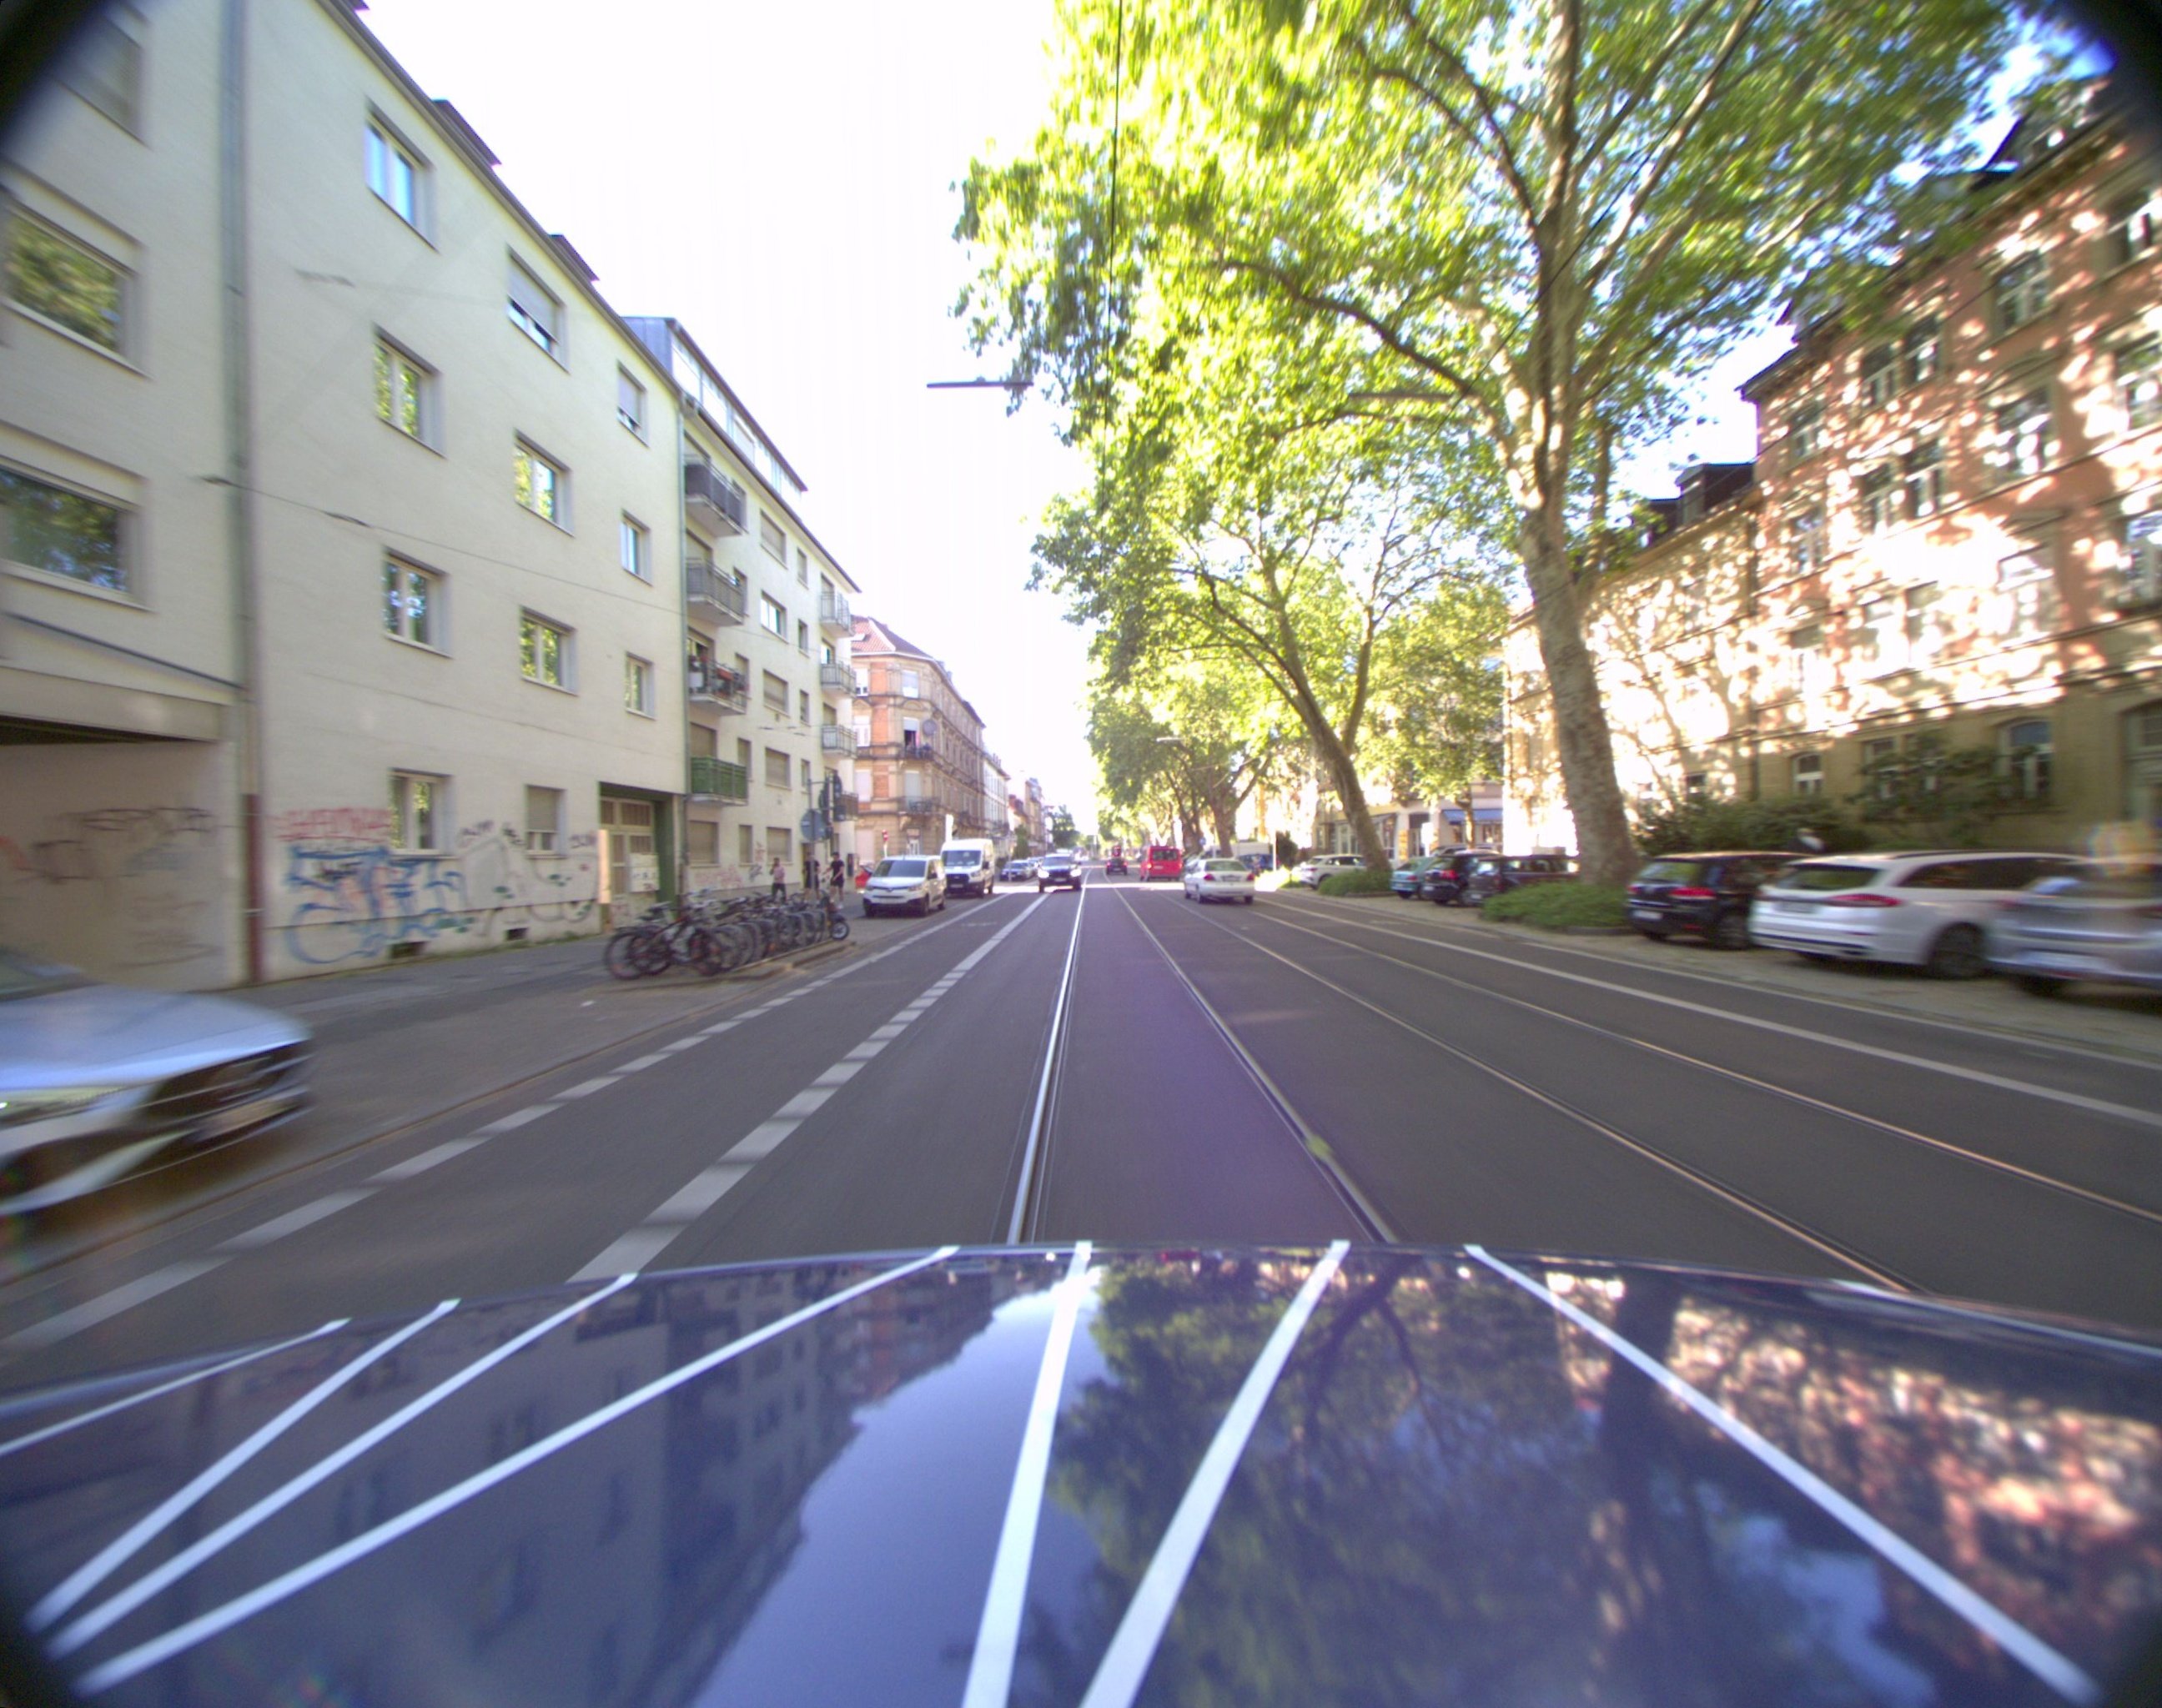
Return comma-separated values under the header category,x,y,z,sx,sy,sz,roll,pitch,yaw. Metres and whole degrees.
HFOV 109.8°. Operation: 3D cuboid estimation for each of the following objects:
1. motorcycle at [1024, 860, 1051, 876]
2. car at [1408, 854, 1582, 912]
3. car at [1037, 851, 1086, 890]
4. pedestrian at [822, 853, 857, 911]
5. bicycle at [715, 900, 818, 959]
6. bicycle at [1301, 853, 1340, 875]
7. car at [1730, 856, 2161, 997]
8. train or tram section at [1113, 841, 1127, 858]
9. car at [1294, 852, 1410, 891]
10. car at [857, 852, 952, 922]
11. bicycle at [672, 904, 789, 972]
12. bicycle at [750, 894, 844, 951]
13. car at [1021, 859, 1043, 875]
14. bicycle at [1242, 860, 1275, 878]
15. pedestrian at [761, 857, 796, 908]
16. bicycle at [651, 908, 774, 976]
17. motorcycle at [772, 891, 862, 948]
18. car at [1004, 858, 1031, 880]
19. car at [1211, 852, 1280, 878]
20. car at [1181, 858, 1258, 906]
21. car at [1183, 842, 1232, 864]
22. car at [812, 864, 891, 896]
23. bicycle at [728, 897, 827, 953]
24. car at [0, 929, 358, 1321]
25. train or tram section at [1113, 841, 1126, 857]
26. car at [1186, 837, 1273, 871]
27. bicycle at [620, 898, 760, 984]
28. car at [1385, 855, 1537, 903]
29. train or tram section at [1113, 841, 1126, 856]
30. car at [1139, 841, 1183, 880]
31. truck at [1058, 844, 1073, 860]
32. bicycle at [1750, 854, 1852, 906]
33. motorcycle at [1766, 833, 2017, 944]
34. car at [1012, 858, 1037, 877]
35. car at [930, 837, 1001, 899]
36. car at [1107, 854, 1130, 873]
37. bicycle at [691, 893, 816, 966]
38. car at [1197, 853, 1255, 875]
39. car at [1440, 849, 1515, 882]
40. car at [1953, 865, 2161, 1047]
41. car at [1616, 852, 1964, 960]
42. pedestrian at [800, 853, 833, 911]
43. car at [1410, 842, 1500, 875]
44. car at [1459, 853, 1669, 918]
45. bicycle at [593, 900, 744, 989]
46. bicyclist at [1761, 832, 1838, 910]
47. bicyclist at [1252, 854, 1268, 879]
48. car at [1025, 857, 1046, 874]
category,x,y,z,sx,sy,sz,roll,pitch,yaw
motorcycle,-3.648,1.179,64.312,2.143,1.281,0.642,-1,1,-21
car,11.494,0.772,21.223,4.000,1.452,1.769,-1,0,-8
car,-0.853,0.787,36.384,1.948,1.694,4.632,-2,-1,3
pedestrian,-7.723,0.879,24.339,0.711,1.812,1.082,0,1,3
bicycle,-5.627,1.352,13.634,1.657,0.981,0.457,1,1,1
bicycle,12.355,0.507,39.193,1.858,1.082,0.397,-1,1,19
car,10.763,0.813,9.330,3.996,1.487,1.830,-1,0,2
train or tram section,8.833,-1.120,172.290,2.944,3.598,11.062,-3,1,2
car,10.862,0.676,30.674,3.997,1.452,1.879,-1,0,0
car,-5.327,0.918,23.552,1.863,1.810,4.350,2,1,0
bicycle,-5.625,1.341,12.234,1.657,1.015,0.457,1,1,1
bicycle,-5.534,1.323,14.823,1.657,1.049,0.457,1,1,1
car,-4.295,1.135,66.996,1.653,1.265,3.724,1,1,1
bicycle,10.667,0.902,45.670,1.872,1.025,0.629,-1,0,20
pedestrian,-9.854,0.916,24.799,0.633,1.571,0.933,5,2,3
bicycle,-5.667,1.346,11.717,1.657,0.960,0.457,1,1,1
motorcycle,-5.470,1.329,15.724,1.820,1.074,0.618,0,1,24
car,-4.612,1.064,55.206,1.653,1.412,4.059,1,1,-1
car,11.303,0.767,52.515,4.331,1.702,1.816,-1,0,-2
car,4.419,0.840,24.851,1.722,1.351,4.469,-1,0,0
car,12.657,-0.098,76.427,4.637,1.896,1.922,-3,0,4
car,-12.476,1.395,41.486,3.658,1.565,1.790,-2,1,3
bicycle,-5.680,1.328,14.258,1.657,0.981,0.457,1,1,1
car,-6.850,1.194,3.642,4.629,1.429,1.863,0,0,-10
train or tram section,9.286,-1.299,183.446,2.944,3.598,11.259,-3,1,2
car,11.994,0.039,61.833,6.618,2.393,2.000,-3,0,1
bicycle,-5.768,1.273,11.242,1.828,1.185,0.457,1,1,1
car,11.842,0.755,23.788,3.998,1.361,1.604,-1,0,-5
train or tram section,9.749,-1.455,195.292,2.944,3.598,12.410,-3,1,2
car,4.679,0.359,45.181,1.922,2.214,4.959,0,0,-2
truck,-3.208,-0.520,157.500,2.842,3.145,7.292,-3,1,1
bicycle,16.965,0.587,17.960,0.744,1.132,1.780,-1,0,1
motorcycle,13.573,0.503,12.958,1.054,1.622,3.011,-3,1,1
car,-4.471,1.027,60.489,1.606,1.412,4.013,1,1,1
car,-5.026,0.552,34.007,2.154,2.481,6.088,-1,1,1
car,3.120,0.784,63.780,1.722,1.501,3.722,-1,0,0
bicycle,-5.529,1.268,12.880,1.798,1.141,0.704,1,1,1
car,10.504,0.730,55.138,3.779,1.509,1.747,-1,0,-2
car,18.581,0.512,35.759,1.603,1.452,3.488,-1,0,-2
car,10.775,0.828,6.816,3.817,1.424,1.704,-1,0,3
car,10.906,0.761,11.913,3.802,1.452,1.704,-2,0,2
pedestrian,-8.572,0.882,24.635,0.626,1.812,1.082,0,1,3
car,23.190,0.244,47.281,4.581,1.870,2.129,-1,3,7
car,11.611,0.736,18.470,3.996,1.452,1.704,-1,0,3
bicycle,-5.828,1.271,10.768,1.897,1.185,0.457,1,1,1
bicyclist,16.919,0.388,17.924,0.832,1.752,1.048,-1,1,1
bicyclist,10.762,0.751,45.612,0.867,1.517,0.737,-1,0,18
car,-4.246,1.064,71.958,1.610,1.444,3.741,1,1,2
